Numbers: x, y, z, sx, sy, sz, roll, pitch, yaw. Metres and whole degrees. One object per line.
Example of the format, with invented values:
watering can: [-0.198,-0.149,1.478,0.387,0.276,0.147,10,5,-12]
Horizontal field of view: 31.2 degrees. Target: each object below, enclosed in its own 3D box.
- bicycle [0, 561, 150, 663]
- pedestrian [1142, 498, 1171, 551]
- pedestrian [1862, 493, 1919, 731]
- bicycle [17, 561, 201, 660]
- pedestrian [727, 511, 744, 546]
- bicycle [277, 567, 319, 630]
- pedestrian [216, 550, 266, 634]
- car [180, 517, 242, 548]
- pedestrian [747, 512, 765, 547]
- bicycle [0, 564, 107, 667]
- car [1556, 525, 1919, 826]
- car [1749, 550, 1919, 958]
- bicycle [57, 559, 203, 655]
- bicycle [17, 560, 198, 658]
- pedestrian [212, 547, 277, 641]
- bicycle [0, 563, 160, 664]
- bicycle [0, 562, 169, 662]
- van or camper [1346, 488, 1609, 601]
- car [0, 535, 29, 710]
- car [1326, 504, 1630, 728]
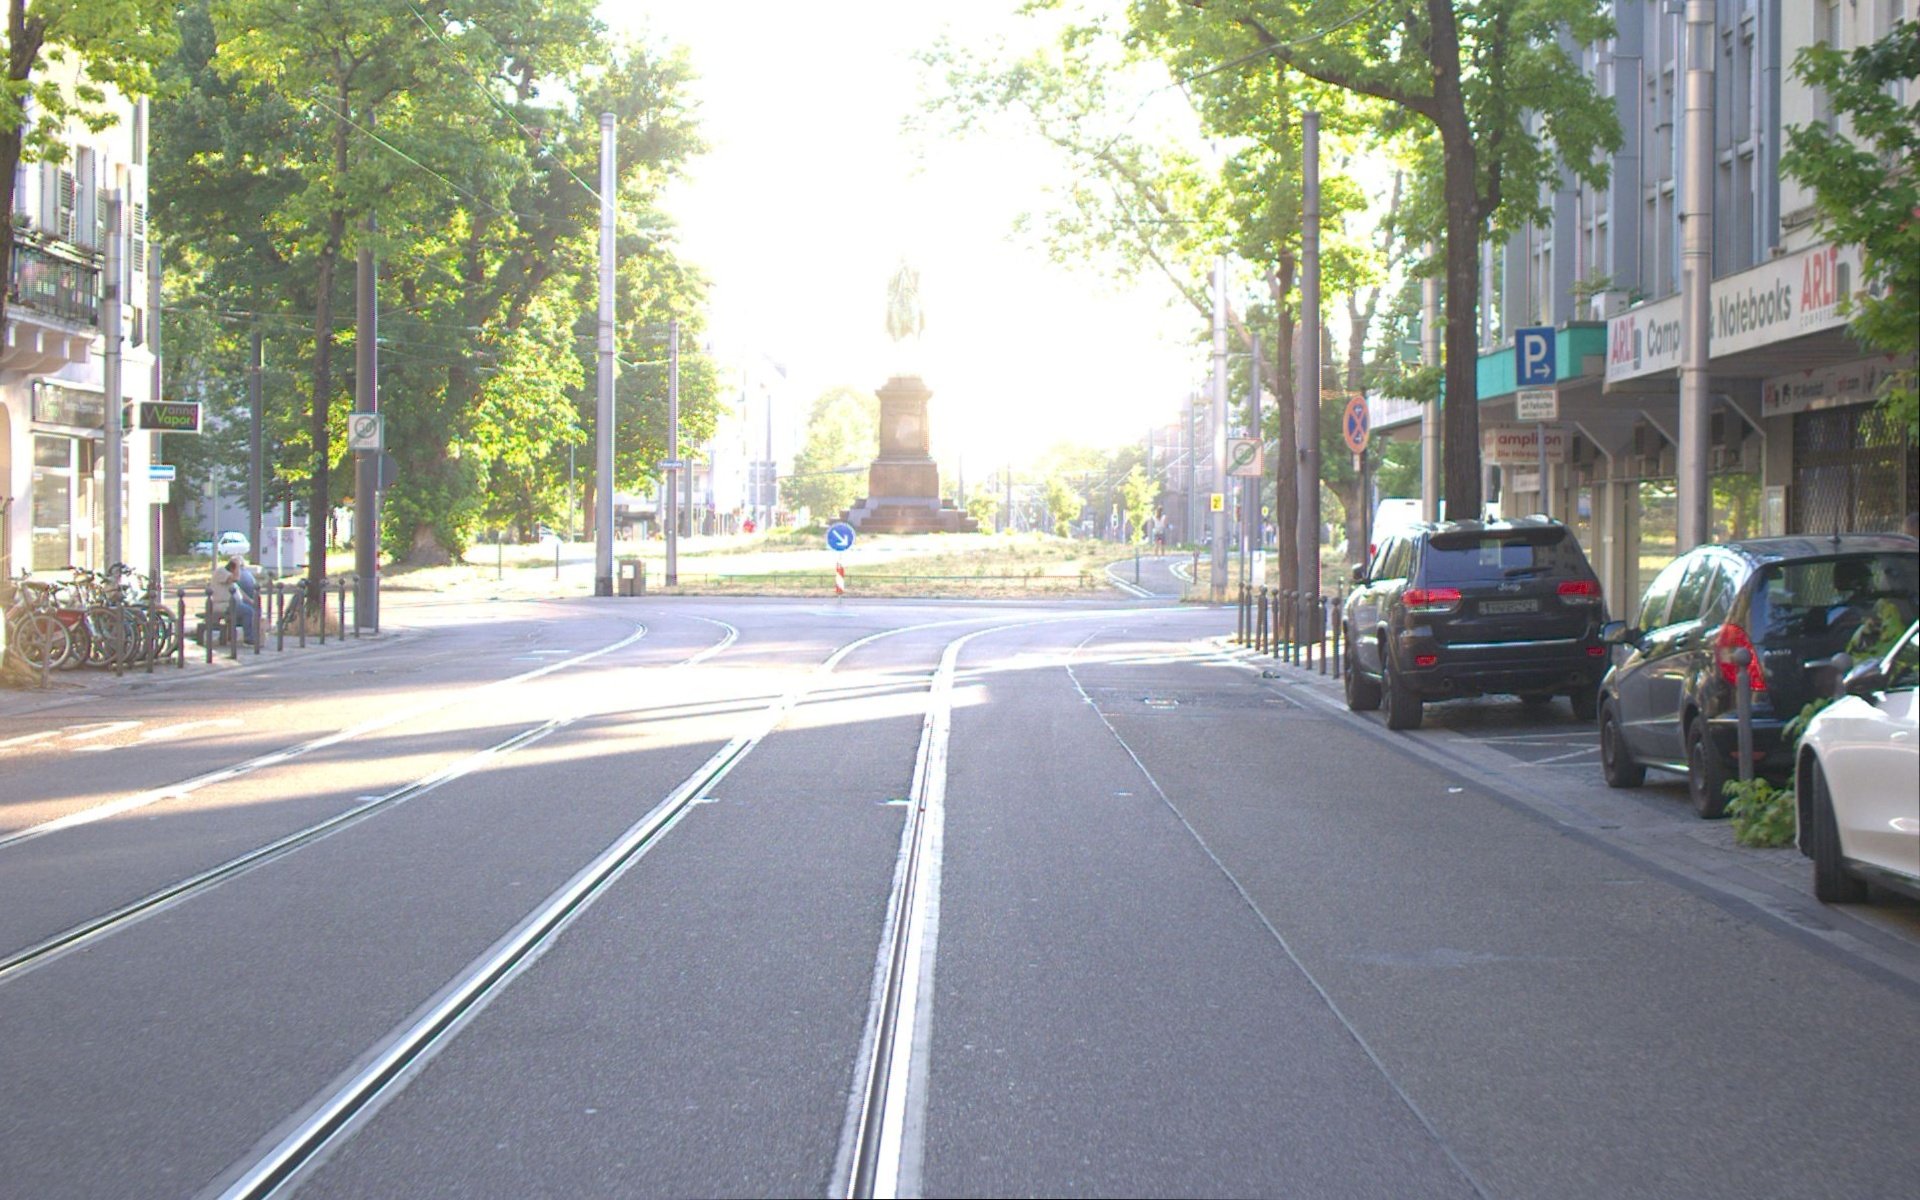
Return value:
bicycle: [-10.270,0.129,38.796,2.108,1.101,0.501,2,0,-25]
pedestrian: [6.025,-2.313,105.350,0.637,1.600,0.770,1,2,26]
pedestrian: [6.928,0.066,24.645,0.643,1.664,0.786,-3,1,0]
bicycle: [-10.119,0.122,40.900,2.024,1.101,0.501,2,0,3]
pedestrian: [-10.326,-3.264,157.927,0.769,1.600,0.638,0,1,-6]
bicycle: [-10.221,-0.033,53.089,0.336,0.942,1.510,0,1,1]
pedestrian: [-10.336,-0.119,49.424,0.591,1.189,0.642,1,1,-2]
car: [-34.988,-3.169,160.719,1.877,1.415,3.925,0,1,3]
pedestrian: [-9.344,-3.248,157.439,0.769,1.600,0.638,0,1,-6]
bicycle: [-10.457,0.155,37.894,1.945,1.101,0.567,2,0,-25]
car: [4.941,0.378,21.102,1.776,1.585,3.892,-3,1,0]
car: [4.622,0.561,13.455,1.993,1.493,4.680,-3,1,1]
bicycle: [-10.231,0.083,42.359,2.028,1.101,0.500,2,0,35]
bicycle: [-10.280,0.106,41.488,2.024,1.101,0.501,2,0,3]
pedestrian: [-9.944,-0.089,47.779,0.728,1.286,0.857,1,1,-2]
bicycle: [-10.266,0.156,39.443,2.023,1.101,0.501,2,0,-25]
bicycle: [-10.297,0.140,40.024,2.023,1.101,0.501,2,0,-25]
van or camper: [11.754,-1.282,77.826,6.303,2.464,2.614,-1,2,-44]
car: [-9.620,0.183,29.528,1.836,1.574,4.702,4,1,1]
car: [4.556,0.085,30.929,1.938,1.753,4.680,-3,1,0]
